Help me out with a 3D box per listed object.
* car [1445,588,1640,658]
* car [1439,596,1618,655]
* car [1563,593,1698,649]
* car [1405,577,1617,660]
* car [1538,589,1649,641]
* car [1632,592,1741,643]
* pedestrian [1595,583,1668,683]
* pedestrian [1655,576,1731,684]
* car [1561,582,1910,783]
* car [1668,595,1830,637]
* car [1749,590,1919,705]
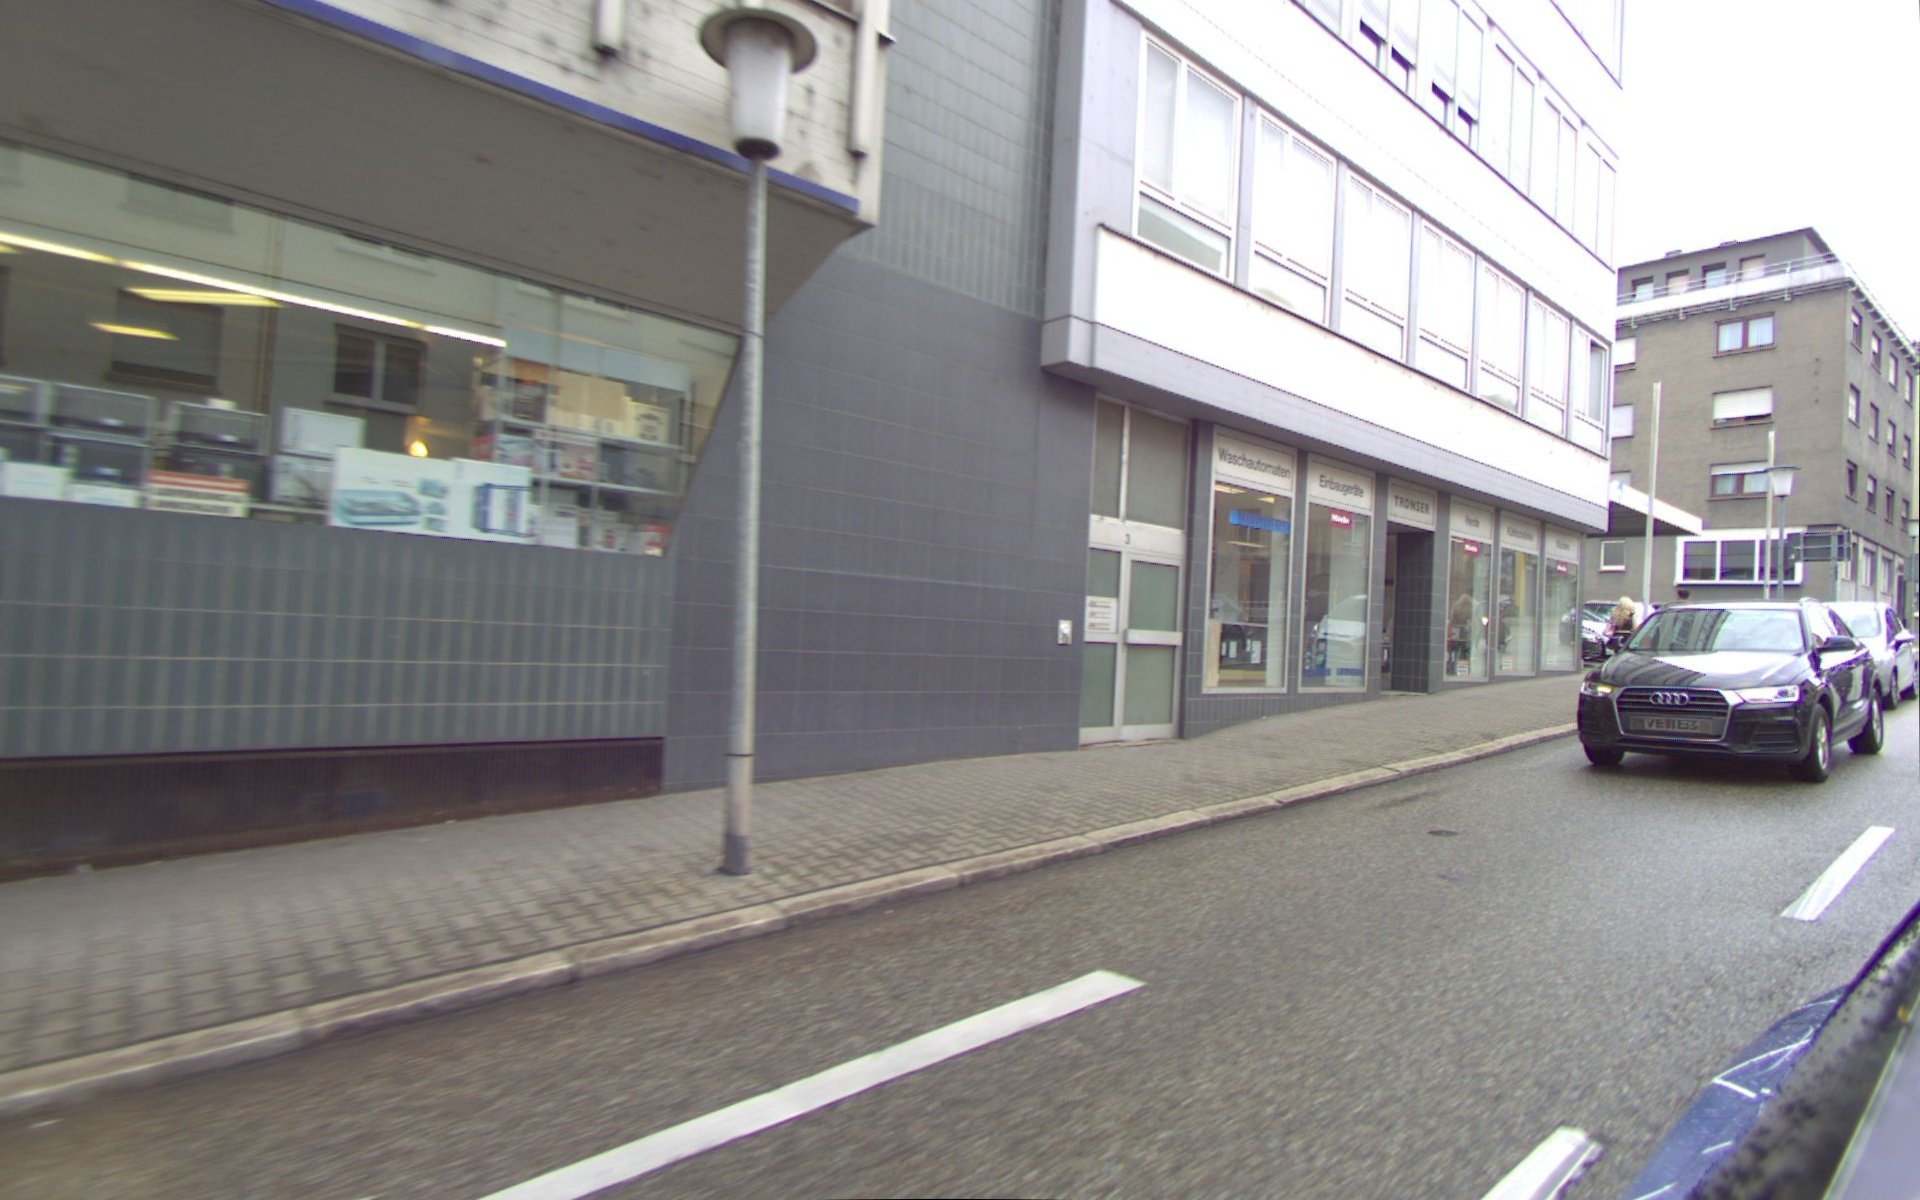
[{"bbox_3d":[14.030,0.501,24.451,3.973,1.549,1.742,1,0,35],"label":"car"},{"bbox_3d":[14.948,0.612,26.682,3.976,1.418,1.649,1,1,36],"label":"car"},{"bbox_3d":[18.879,0.542,28.440,4.530,1.433,1.793,0,1,-38],"label":"car"},{"bbox_3d":[12.286,0.355,22.667,3.974,1.468,1.777,5,3,34],"label":"car"},{"bbox_3d":[21.186,0.519,33.796,4.339,1.530,1.793,2,3,-40],"label":"car"},{"bbox_3d":[23.261,0.519,32.335,4.358,1.531,1.792,0,1,-40],"label":"car"},{"bbox_3d":[11.152,0.527,16.811,0.876,1.570,0.766,0,3,-43],"label":"pedestrian"},{"bbox_3d":[12.484,0.480,17.239,1.102,1.726,0.785,0,3,-43],"label":"pedestrian"},{"bbox_3d":[7.745,0.665,9.969,4.127,1.580,1.826,0,-2,-40],"label":"car"},{"bbox_3d":[30.195,0.617,38.868,1.962,1.523,4.534,0,-1,-36],"label":"car"},{"bbox_3d":[13.968,0.687,15.914,4.181,1.561,1.827,0,-3,-44],"label":"car"}]
